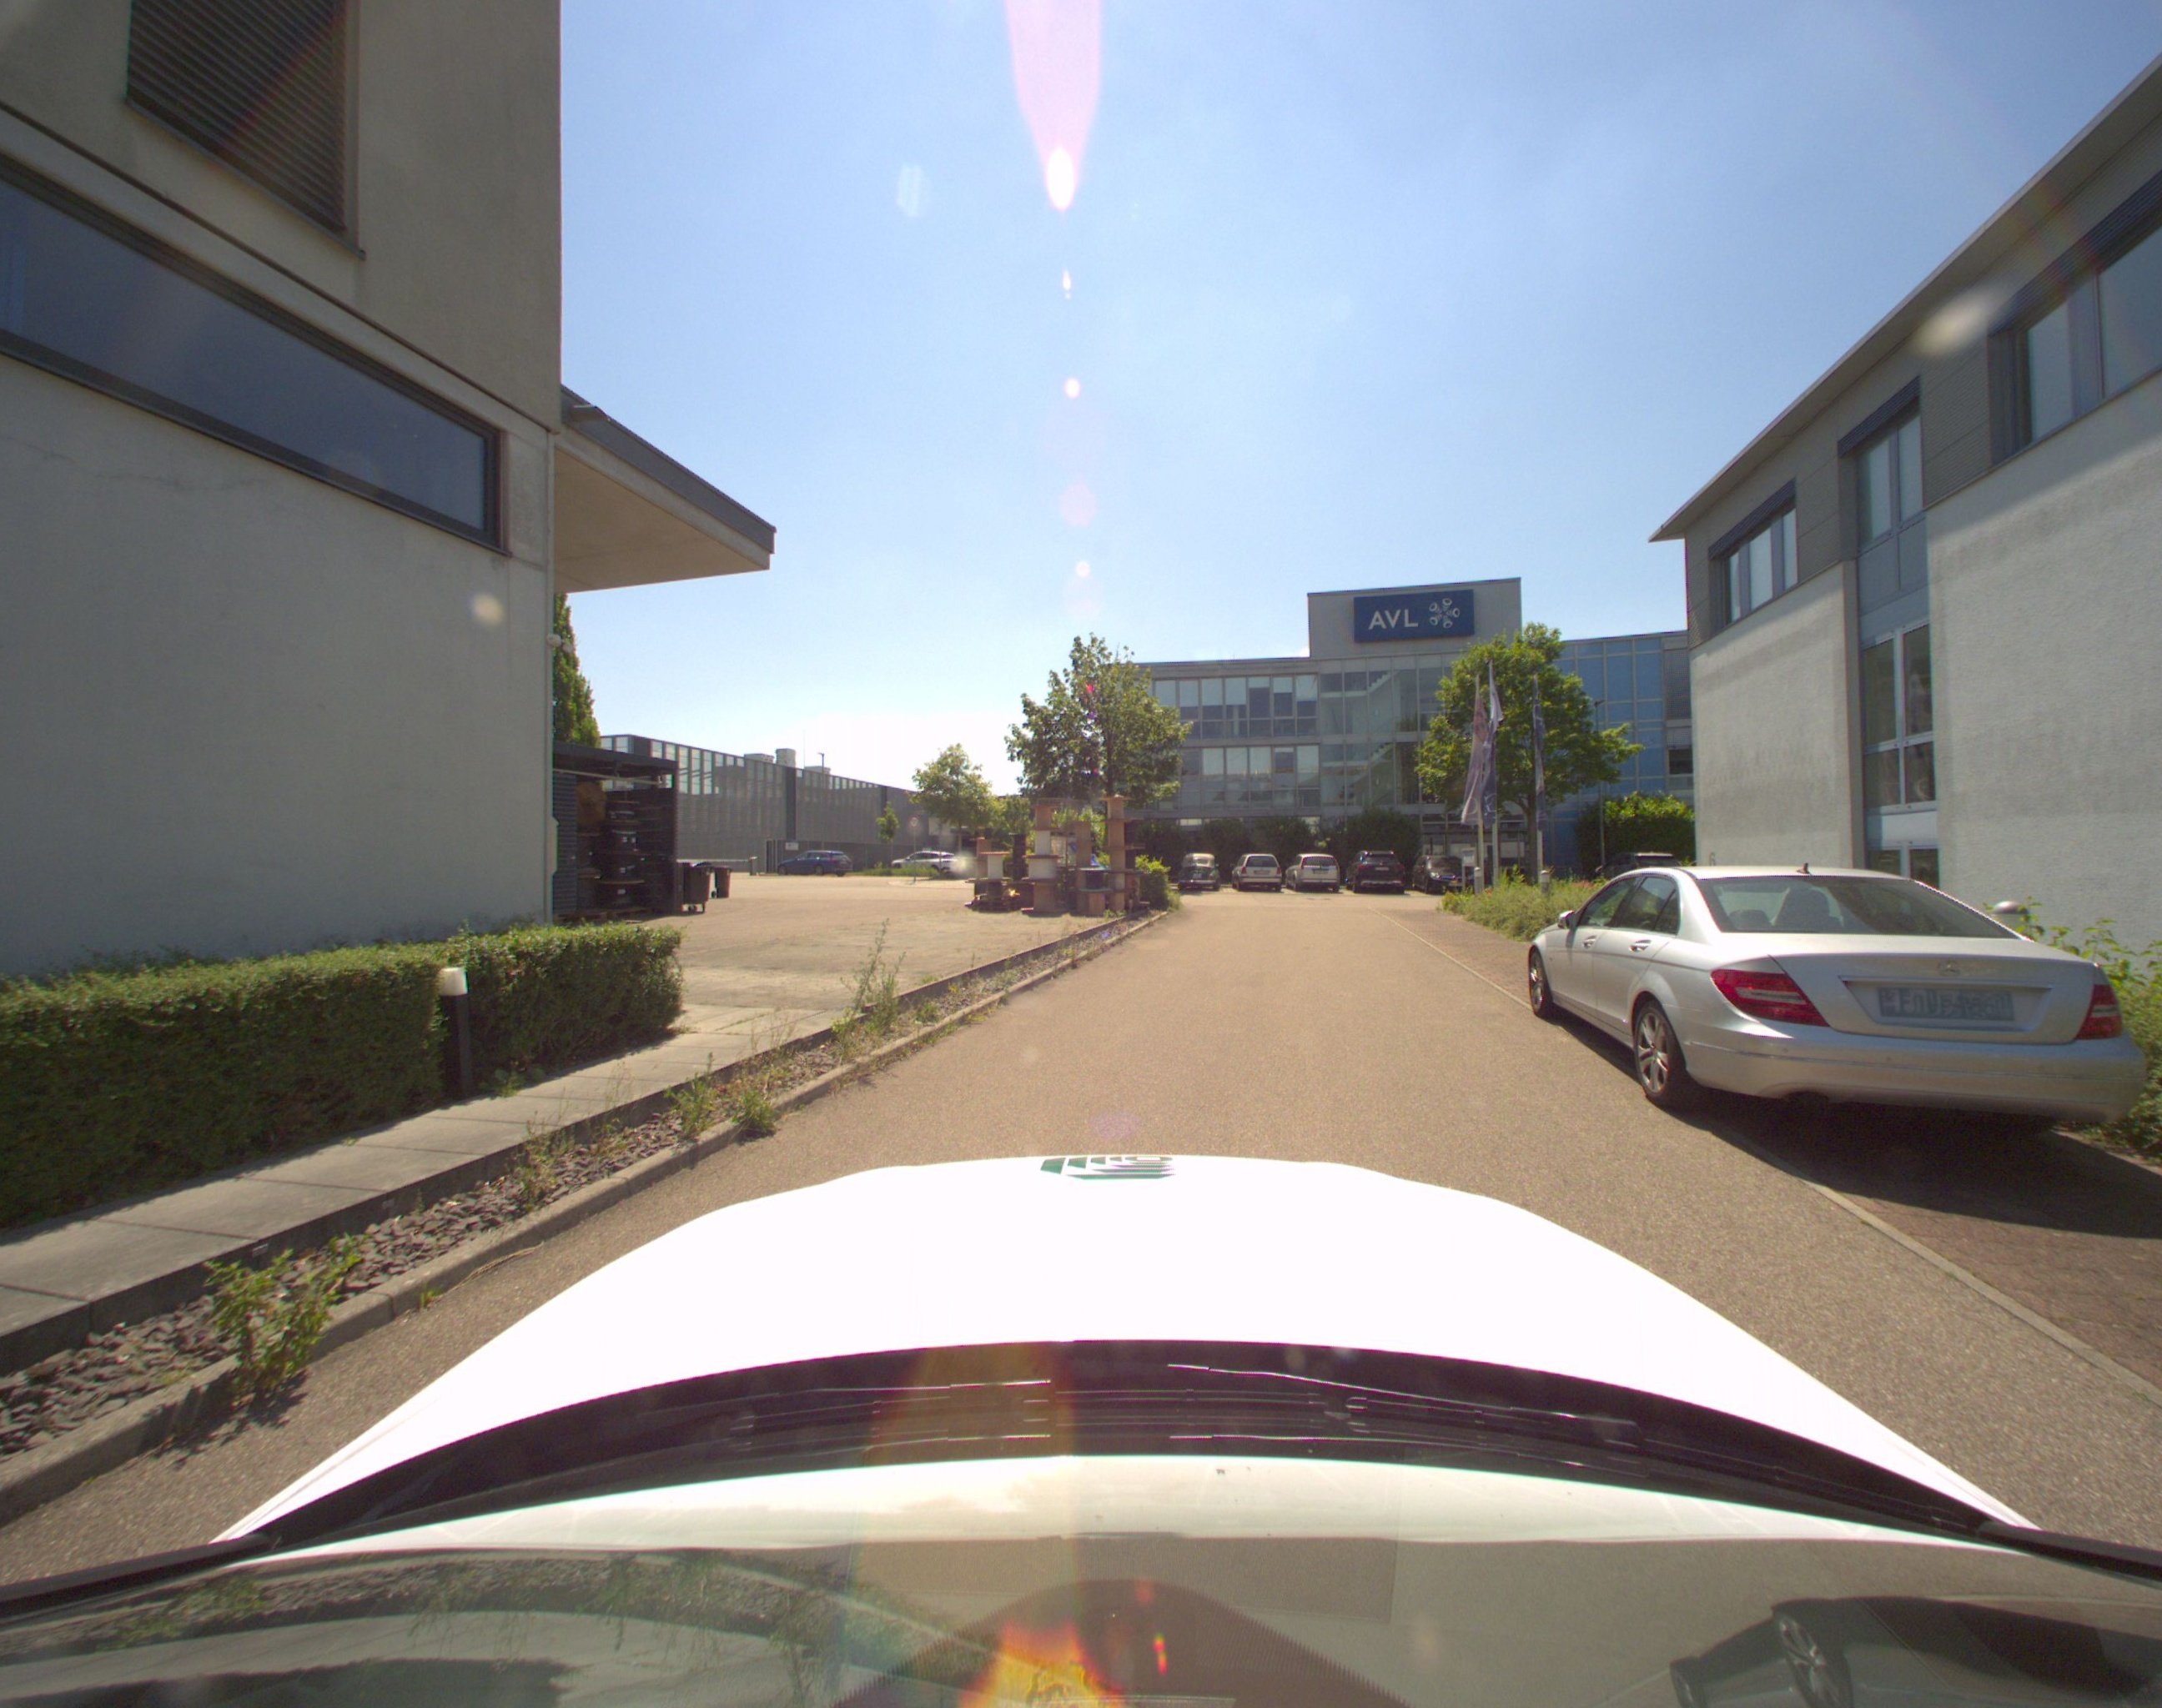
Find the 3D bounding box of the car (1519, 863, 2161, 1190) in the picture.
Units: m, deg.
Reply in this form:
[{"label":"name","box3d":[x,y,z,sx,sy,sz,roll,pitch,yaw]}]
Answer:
[{"label":"car","box3d":[4.631,0.770,5.819,1.785,1.398,4.439,-1,-1,17]}]

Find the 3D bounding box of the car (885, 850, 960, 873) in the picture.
[{"label":"car","box3d":[-10.754,0.505,55.249,4.794,1.491,2.012,0,1,27]}]

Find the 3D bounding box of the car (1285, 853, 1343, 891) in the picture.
[{"label":"car","box3d":[9.381,0.683,32.988,1.755,1.449,3.662,0,1,8]}]

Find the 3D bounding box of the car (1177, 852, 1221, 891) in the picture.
[{"label":"car","box3d":[4.867,0.663,33.209,1.531,1.449,3.666,0,1,12]}]

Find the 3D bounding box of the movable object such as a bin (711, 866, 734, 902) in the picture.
[{"label":"movable object such as a bin","box3d":[-10.497,0.883,23.868,0.578,1.036,0.423,0,-1,-20]}]

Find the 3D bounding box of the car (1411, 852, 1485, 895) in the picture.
[{"label":"car","box3d":[14.103,0.704,31.558,1.758,1.482,4.273,-1,0,12]}]

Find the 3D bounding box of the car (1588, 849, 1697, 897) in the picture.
[{"label":"car","box3d":[20.652,0.654,30.188,1.807,1.619,4.354,-1,0,12]}]

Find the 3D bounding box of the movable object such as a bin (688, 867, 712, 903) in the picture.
[{"label":"movable object such as a bin","box3d":[-11.060,0.893,23.666,0.582,1.027,0.423,0,-1,-20]}]

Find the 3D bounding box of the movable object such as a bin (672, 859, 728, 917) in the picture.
[{"label":"movable object such as a bin","box3d":[-8.988,0.785,19.237,0.804,1.345,0.888,-1,-1,19]}]

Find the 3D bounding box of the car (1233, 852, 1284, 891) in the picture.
[{"label":"car","box3d":[7.122,0.670,32.981,1.722,1.449,3.662,0,1,8]}]

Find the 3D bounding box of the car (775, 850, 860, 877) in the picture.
[{"label":"car","box3d":[-15.016,0.515,46.350,4.458,1.491,2.012,0,1,27]}]

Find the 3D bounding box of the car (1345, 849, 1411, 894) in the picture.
[{"label":"car","box3d":[11.656,0.634,32.198,1.914,1.610,4.000,0,1,12]}]

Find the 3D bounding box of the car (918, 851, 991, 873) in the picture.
[{"label":"car","box3d":[-9.000,0.514,57.807,4.794,1.491,2.012,0,1,27]}]
